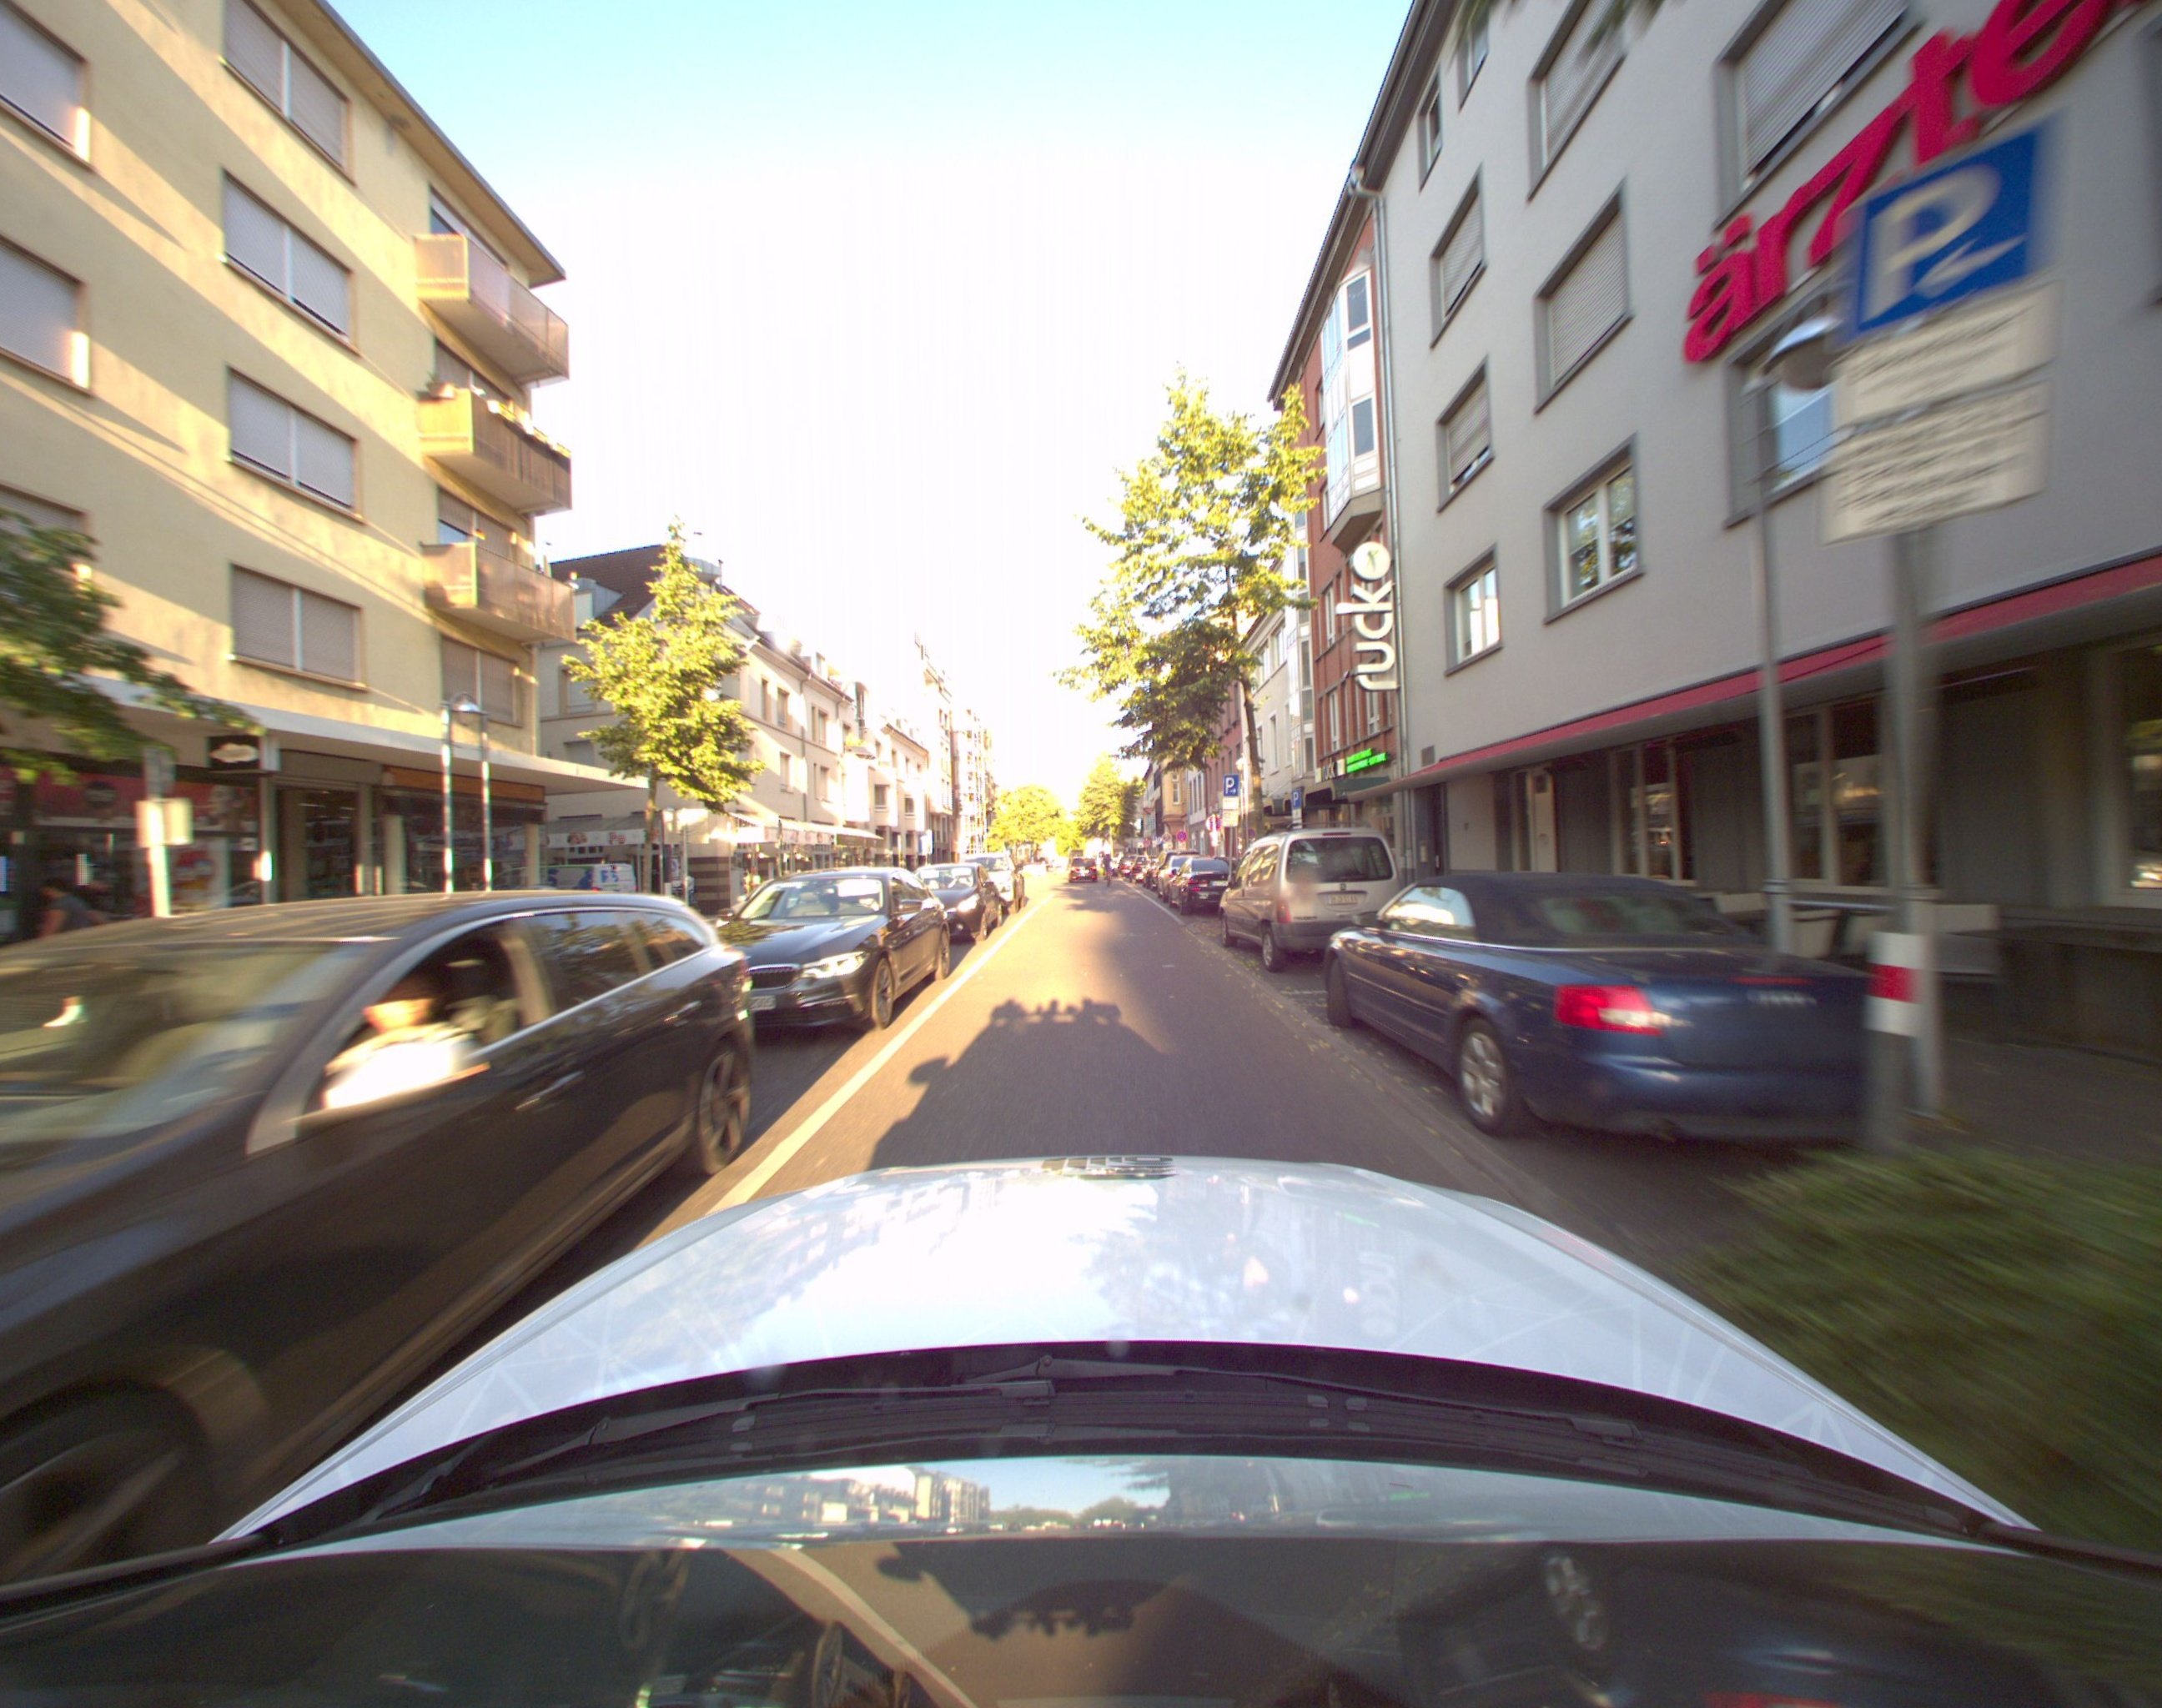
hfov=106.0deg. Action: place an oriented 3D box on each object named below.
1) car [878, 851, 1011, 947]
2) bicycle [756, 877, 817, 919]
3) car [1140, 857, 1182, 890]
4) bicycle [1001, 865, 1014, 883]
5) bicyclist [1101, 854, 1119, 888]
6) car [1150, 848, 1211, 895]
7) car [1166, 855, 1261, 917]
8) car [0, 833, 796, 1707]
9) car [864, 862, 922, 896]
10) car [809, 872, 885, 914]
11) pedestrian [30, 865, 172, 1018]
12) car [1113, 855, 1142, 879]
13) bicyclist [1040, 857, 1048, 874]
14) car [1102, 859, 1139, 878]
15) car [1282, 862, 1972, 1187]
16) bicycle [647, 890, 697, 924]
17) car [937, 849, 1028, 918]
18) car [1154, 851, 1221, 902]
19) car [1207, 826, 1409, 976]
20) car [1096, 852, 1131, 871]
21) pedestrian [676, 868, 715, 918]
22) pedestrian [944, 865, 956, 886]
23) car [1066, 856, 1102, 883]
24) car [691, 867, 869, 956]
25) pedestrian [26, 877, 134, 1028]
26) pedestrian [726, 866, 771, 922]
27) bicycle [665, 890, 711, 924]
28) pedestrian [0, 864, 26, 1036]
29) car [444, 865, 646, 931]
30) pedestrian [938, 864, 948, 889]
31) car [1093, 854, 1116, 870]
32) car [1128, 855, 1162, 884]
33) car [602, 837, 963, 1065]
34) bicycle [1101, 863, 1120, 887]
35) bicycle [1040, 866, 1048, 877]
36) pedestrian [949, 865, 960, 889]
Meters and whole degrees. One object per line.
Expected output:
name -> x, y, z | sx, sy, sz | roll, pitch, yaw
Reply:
car -> -2.538, 0.813, 16.184 | 1.717, 1.549, 4.465 | -3, -1, 1
bicycle -> -9.952, 1.469, 27.683 | 0.956, 1.300, 3.125 | -1, -1, -1
car -> 3.939, 0.961, 40.570 | 1.756, 1.484, 4.307 | -1, -1, 1
bicycle -> -6.041, 1.630, 66.791 | 0.844, 1.351, 3.178 | -2, -1, -8
bicyclist -> 1.476, 0.864, 42.004 | 0.778, 1.696, 1.006 | -3, -1, -2
car -> 4.029, 0.709, 33.708 | 1.877, 1.754, 5.057 | -1, -1, 0
car -> 3.332, 0.763, 21.326 | 1.747, 1.420, 4.509 | -1, 0, 0
car -> -2.679, 0.775, 2.627 | 1.953, 1.547, 4.507 | -2, 0, -1
car -> -8.502, 1.111, 37.196 | 1.705, 1.454, 3.725 | -1, -1, 1
car -> -8.582, 1.398, 30.173 | 1.655, 1.403, 3.883 | -1, -1, 0
pedestrian -> -12.449, 1.080, 10.377 | 0.737, 1.819, 0.814 | -3, 0, 3
car -> 3.527, 0.996, 62.136 | 1.820, 1.695, 4.364 | -1, -1, -2
bicyclist -> -3.991, 1.270, 88.024 | 0.778, 1.829, 1.006 | -3, -1, -2
car -> 3.285, 1.202, 67.941 | 2.962, 1.536, 1.431 | -1, -1, -4
car -> 2.883, 0.755, 5.606 | 1.931, 1.376, 4.180 | 0, 0, -1
bicycle -> -12.978, 1.666, 25.882 | 0.488, 0.992, 2.017 | -1, -1, 2
car -> -2.648, 0.790, 22.994 | 1.935, 1.645, 4.736 | -3, -1, -1
car -> 3.461, 0.742, 27.281 | 1.804, 1.527, 4.996 | -1, -1, 3
car -> 3.044, 0.566, 11.791 | 1.650, 1.778, 4.008 | -1, 0, -2
car -> 3.840, 0.844, 95.516 | 3.968, 2.014, 2.003 | -2, -1, 4
pedestrian -> -13.108, 1.307, 27.720 | 0.897, 1.676, 0.782 | -1, -1, 14
pedestrian -> -10.214, 1.674, 63.328 | 0.713, 1.641, 0.856 | -1, -1, 5
car -> 0.264, 0.976, 52.190 | 1.985, 1.602, 4.514 | -1, -1, 4
car -> -6.253, 1.123, 17.555 | 1.987, 1.511, 4.509 | -5, -1, 1
pedestrian -> -11.875, 1.127, 9.689 | 0.760, 1.676, 0.747 | -2, -1, 43
pedestrian -> -10.582, 1.262, 25.958 | 0.899, 1.676, 0.995 | -2, 0, 7
bicycle -> -12.429, 1.658, 25.822 | 0.488, 0.992, 2.015 | -1, -1, -1
pedestrian -> -12.051, 1.054, 8.621 | 0.763, 1.847, 0.745 | -2, 0, 10
car -> -15.789, 1.287, 24.111 | 4.837, 1.828, 2.005 | -1, -1, 8
pedestrian -> -9.902, 1.630, 58.467 | 0.716, 1.767, 0.692 | -1, -1, -7
car -> 2.746, 0.975, 95.293 | 2.259, 1.766, 4.505 | 4, -1, -2
car -> 3.791, 0.919, 48.789 | 1.805, 1.668, 4.206 | -1, -1, 1
car -> -2.634, 0.784, 8.568 | 1.939, 1.645, 4.616 | -3, -1, 1
bicycle -> 1.502, 1.086, 42.080 | 0.778, 1.204, 2.019 | -3, -1, -2
bicycle -> -3.963, 1.885, 87.926 | 0.778, 1.204, 2.019 | -3, -1, -2
pedestrian -> -9.076, 1.649, 58.566 | 0.716, 1.740, 0.736 | -1, -1, -7
